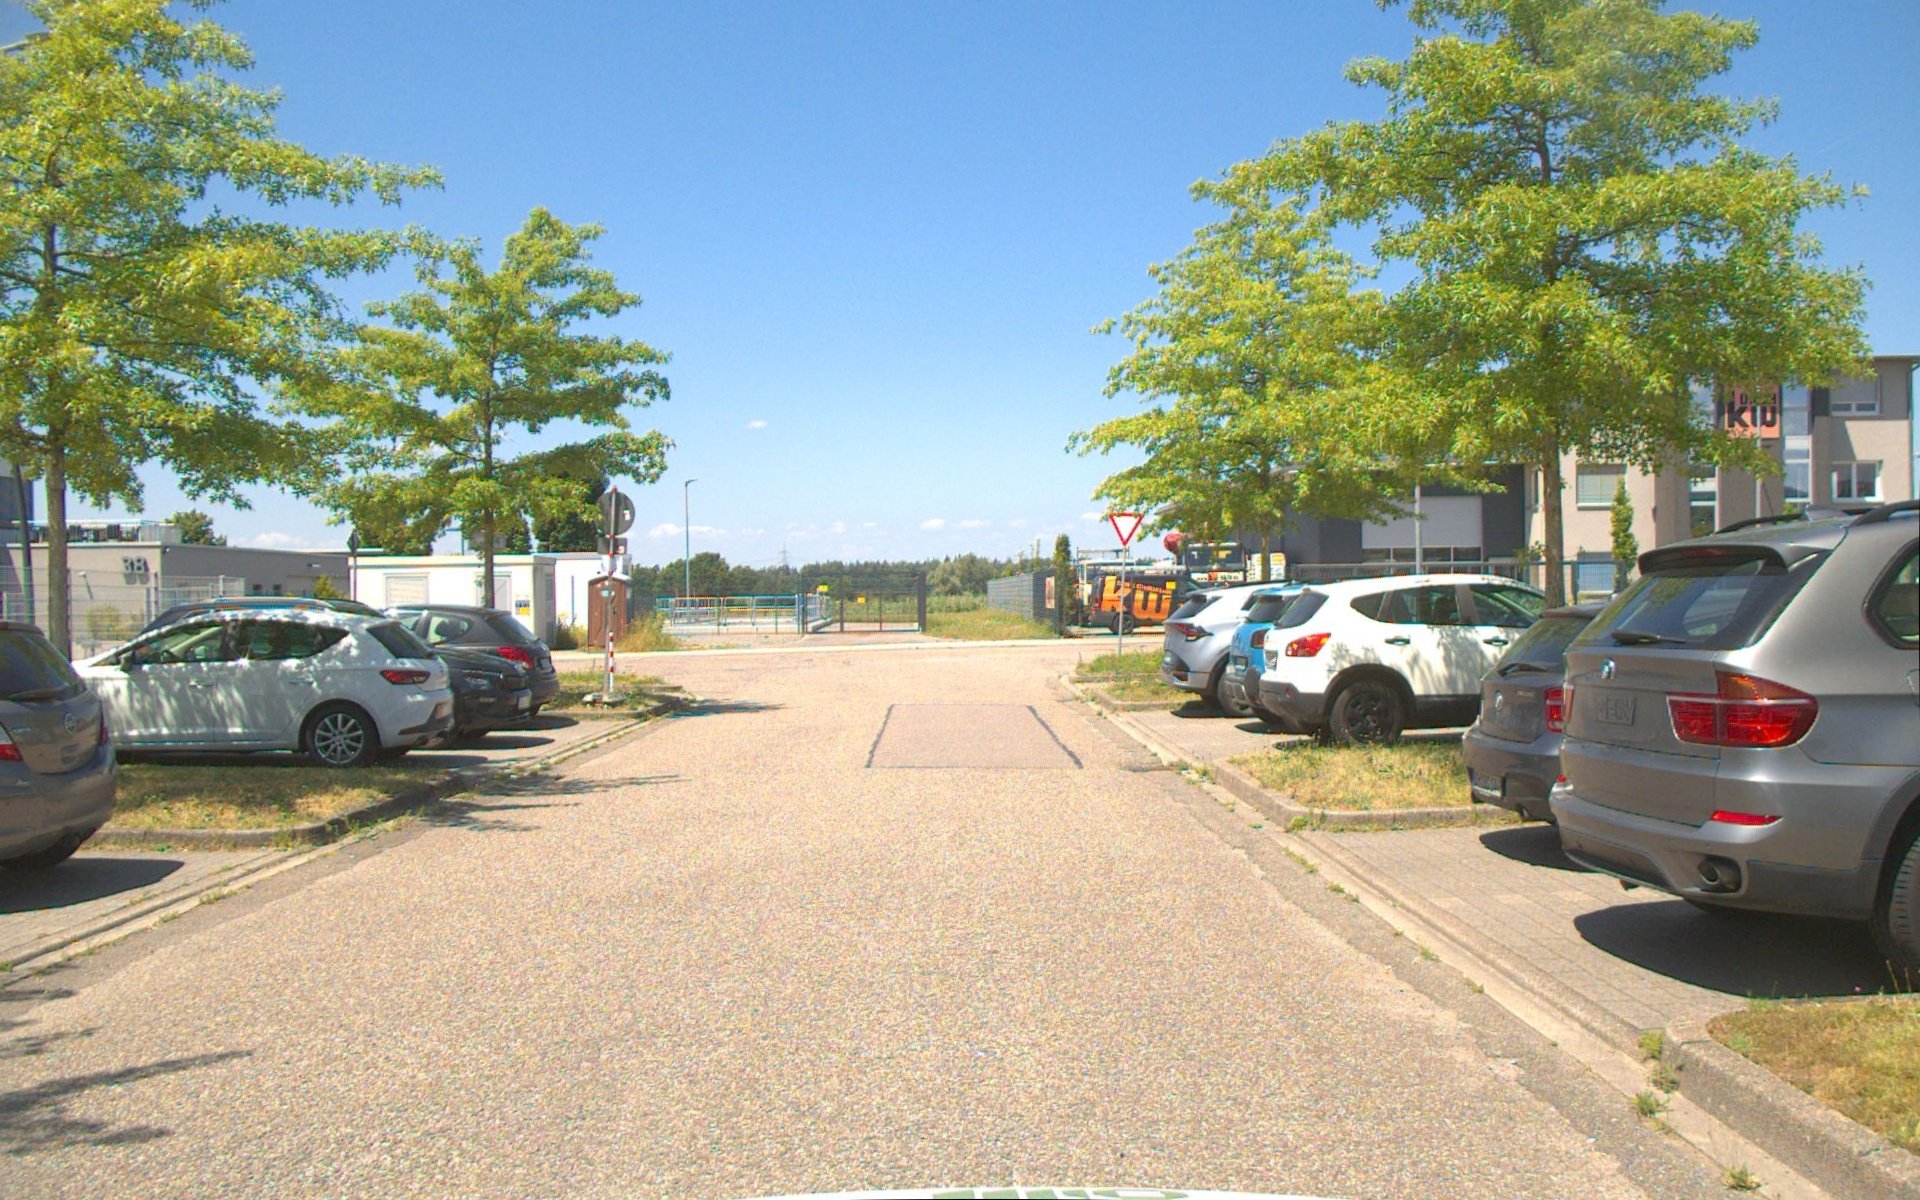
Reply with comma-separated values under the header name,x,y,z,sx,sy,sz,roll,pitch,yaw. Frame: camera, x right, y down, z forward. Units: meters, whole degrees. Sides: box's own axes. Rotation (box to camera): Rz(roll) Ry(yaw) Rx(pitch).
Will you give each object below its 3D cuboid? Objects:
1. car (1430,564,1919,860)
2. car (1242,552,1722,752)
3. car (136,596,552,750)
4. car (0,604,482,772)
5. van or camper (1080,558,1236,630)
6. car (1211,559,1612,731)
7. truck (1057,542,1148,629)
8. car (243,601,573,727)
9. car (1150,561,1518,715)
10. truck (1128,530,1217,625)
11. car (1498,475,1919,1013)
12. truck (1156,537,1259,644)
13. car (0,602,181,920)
name,x,y,z,sx,sy,sz,roll,pitch,yaw
car,4.883,0.549,9.394,3.843,1.434,1.909,-2,-1,-1
car,4.905,0.477,15.970,3.985,1.636,1.901,-3,0,0
car,-6.576,0.761,18.009,3.849,1.547,1.784,1,0,-4
car,-6.795,0.797,15.708,3.995,1.449,1.872,1,0,-5
van or camper,6.455,-0.216,54.351,4.836,2.201,2.000,-1,1,-2
car,4.927,0.467,18.436,3.906,1.673,1.837,-2,0,-2
truck,5.372,-0.566,63.556,2.671,3.115,6.934,-1,1,-2
car,-6.820,0.771,20.725,3.553,1.461,1.725,1,0,-4
car,4.644,0.458,20.976,4.192,1.673,1.850,-3,0,-1
truck,9.483,-1.007,74.376,2.862,3.997,6.934,-1,1,-2
car,4.728,0.394,6.730,4.360,1.799,1.992,-3,0,-3
truck,9.869,-0.402,66.543,2.862,3.997,6.934,-1,1,-2
car,-6.365,0.777,8.827,3.585,1.535,1.730,1,0,-5
